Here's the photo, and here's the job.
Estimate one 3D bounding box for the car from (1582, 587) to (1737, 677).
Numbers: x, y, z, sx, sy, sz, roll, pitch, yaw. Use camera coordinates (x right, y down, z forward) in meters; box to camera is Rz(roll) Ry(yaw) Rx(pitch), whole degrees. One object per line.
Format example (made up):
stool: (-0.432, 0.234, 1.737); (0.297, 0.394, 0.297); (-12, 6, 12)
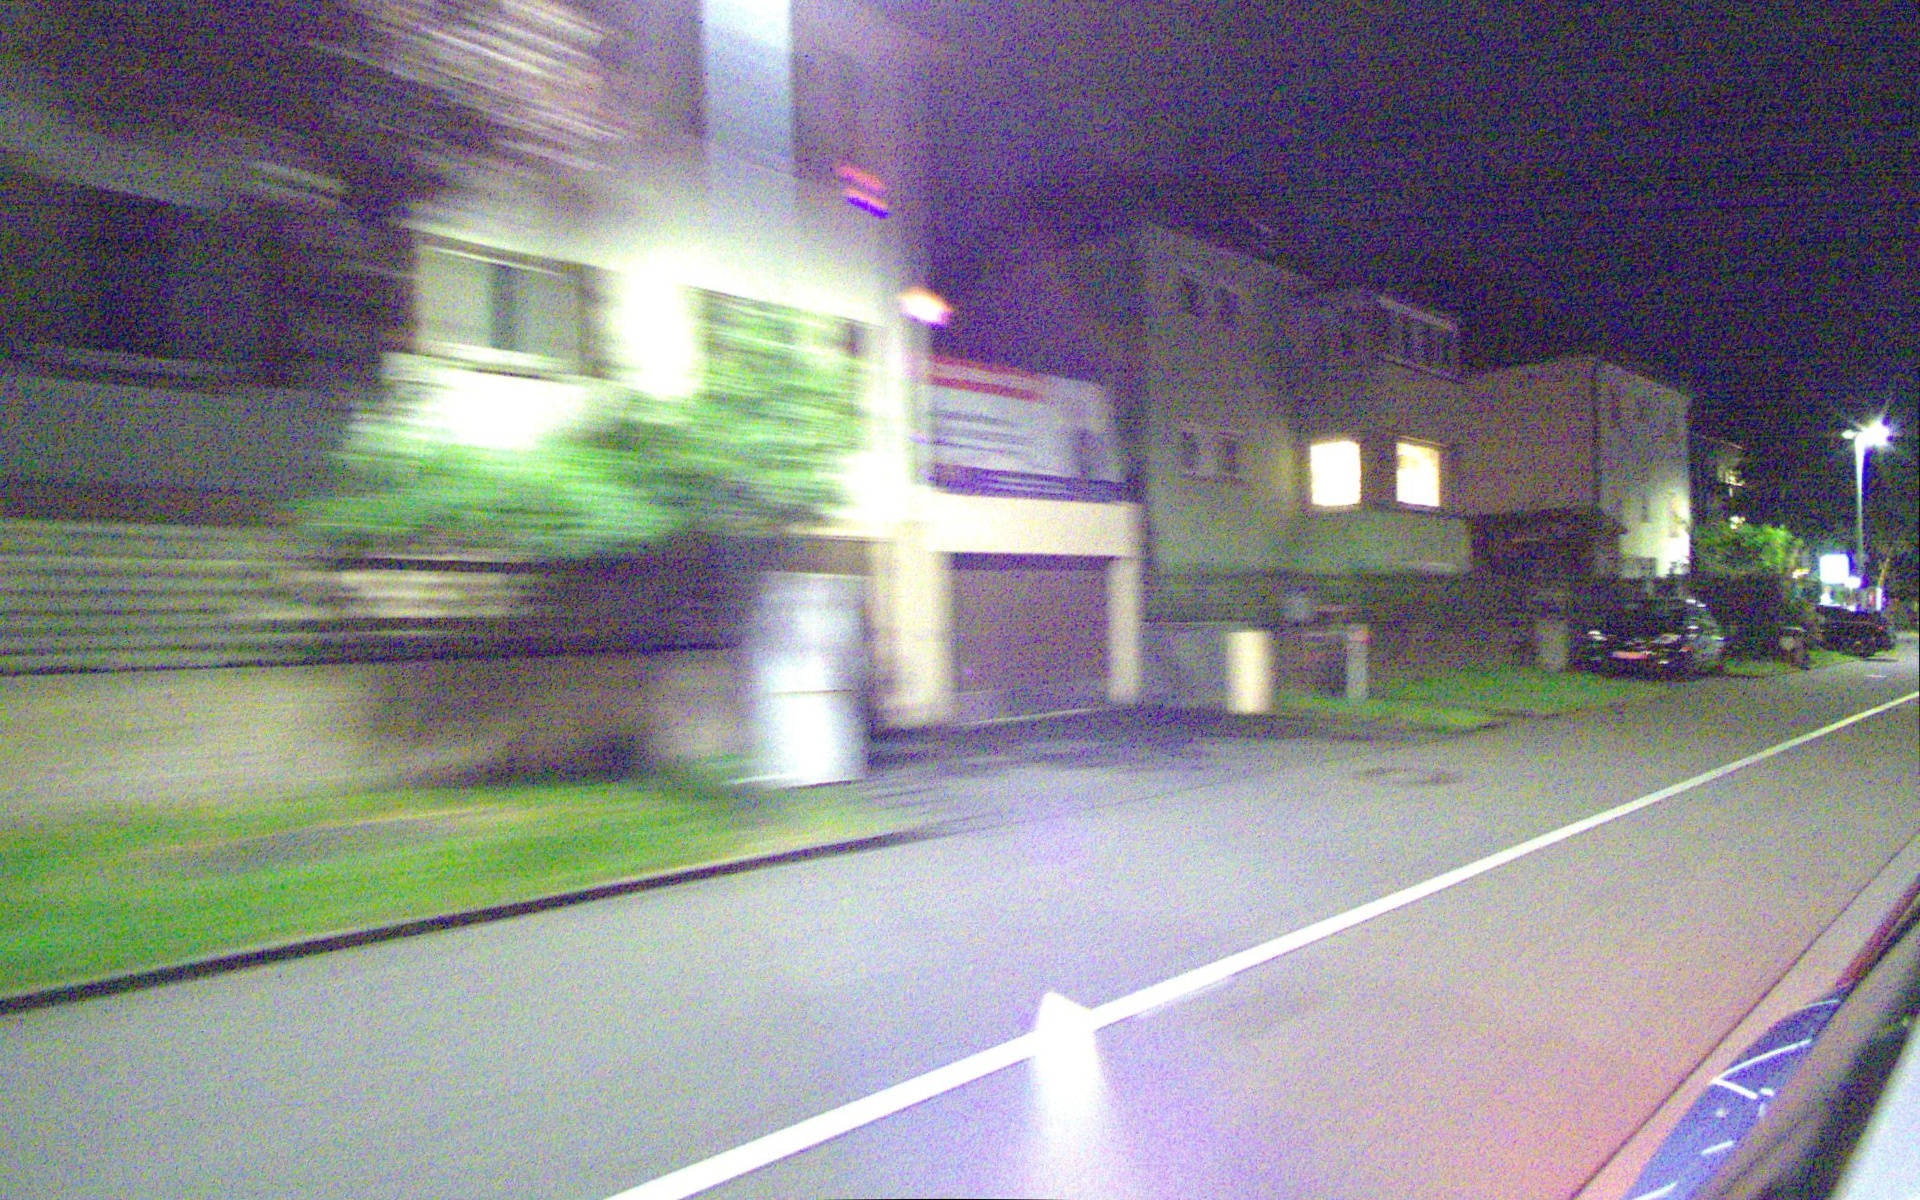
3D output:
car: (13.569, 0.554, 19.567); (3.614, 1.580, 1.642); (0, 0, -41)

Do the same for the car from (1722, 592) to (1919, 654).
car: (23.794, 0.578, 28.097); (1.800, 1.504, 3.913); (0, 1, -39)
